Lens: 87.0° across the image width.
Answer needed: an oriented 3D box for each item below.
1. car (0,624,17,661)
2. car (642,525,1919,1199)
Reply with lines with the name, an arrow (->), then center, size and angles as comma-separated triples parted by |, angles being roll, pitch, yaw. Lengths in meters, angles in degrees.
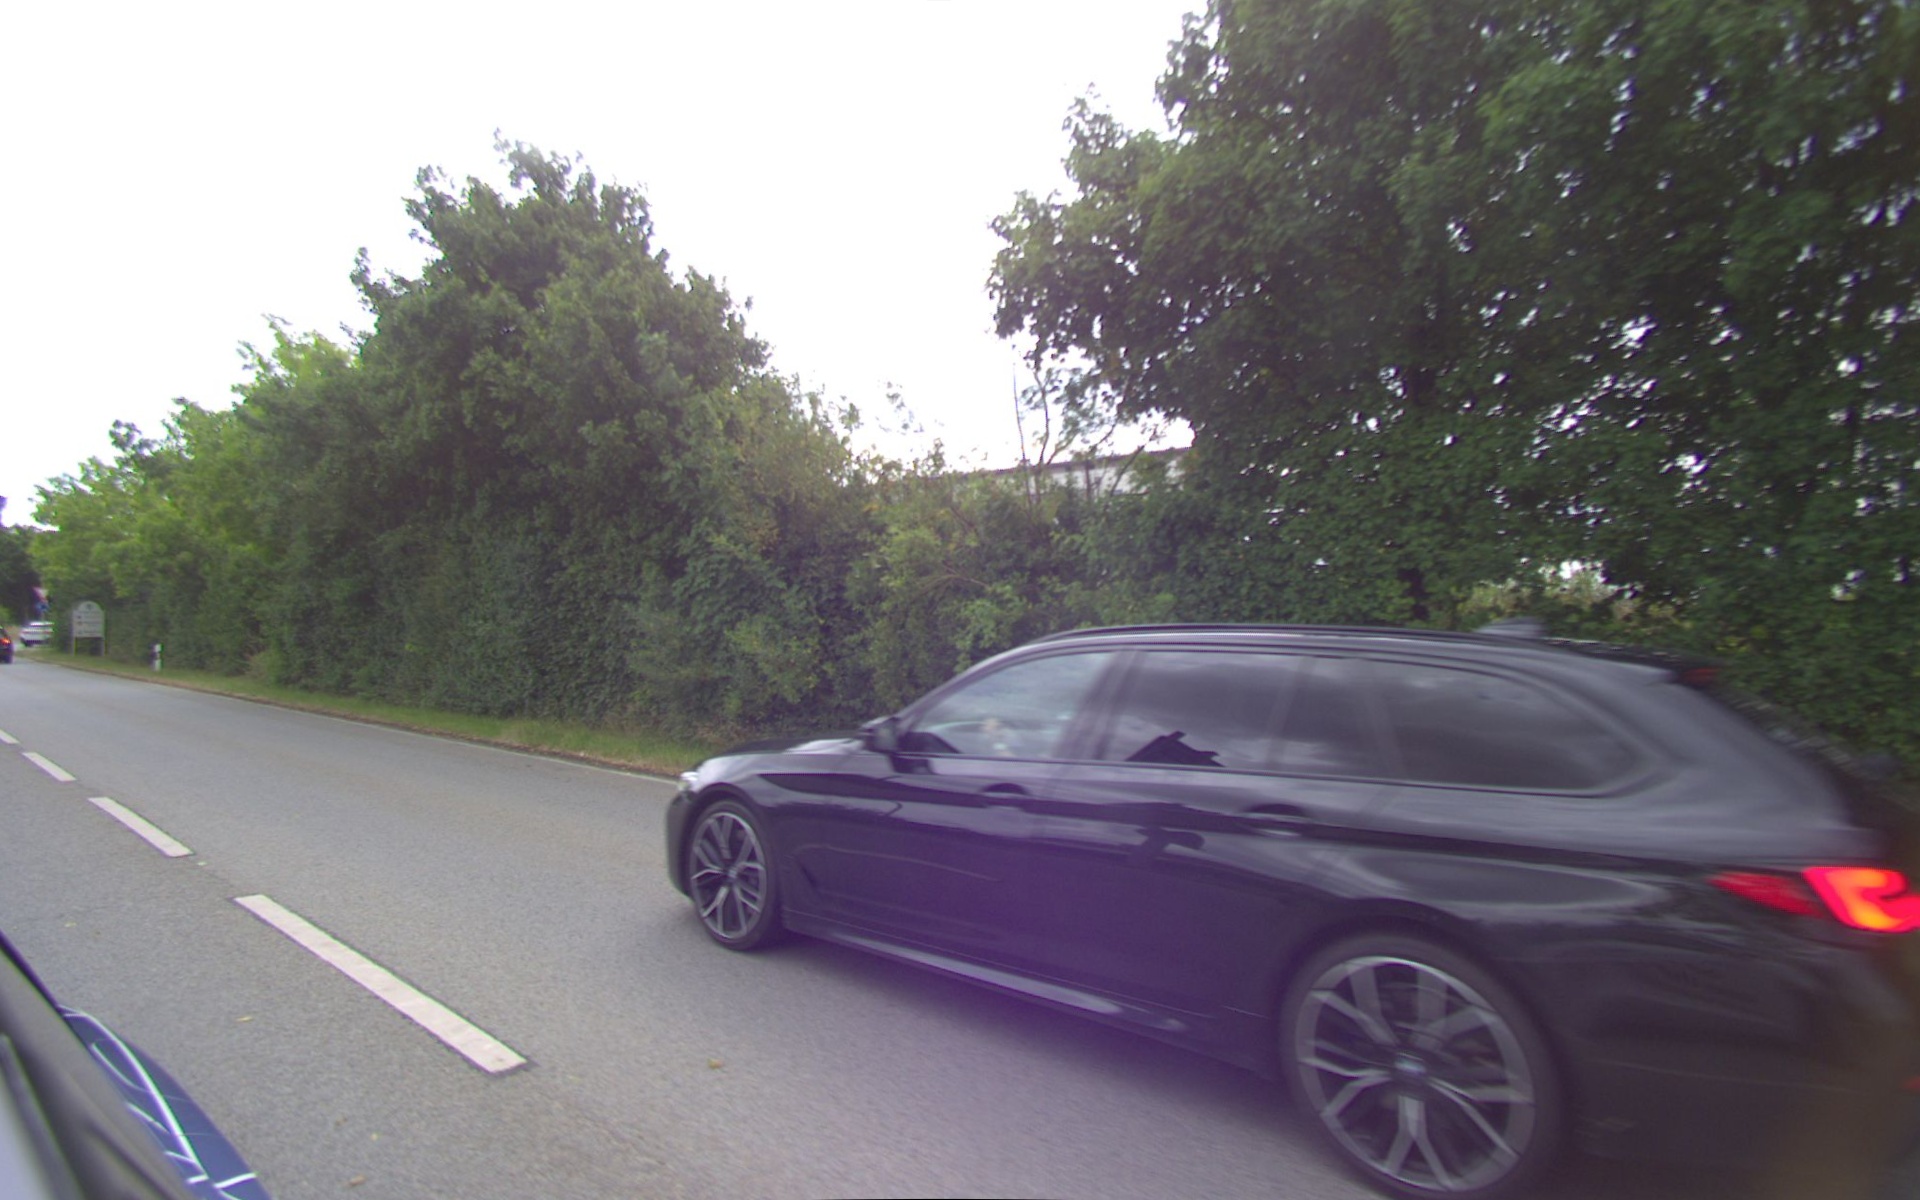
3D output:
car -> -38.706, 1.626, 39.642 | 4.473, 1.430, 1.974 | -1, -3, 39
car -> 0.970, 0.721, 3.788 | 4.551, 1.598, 1.921 | -1, -3, 39
